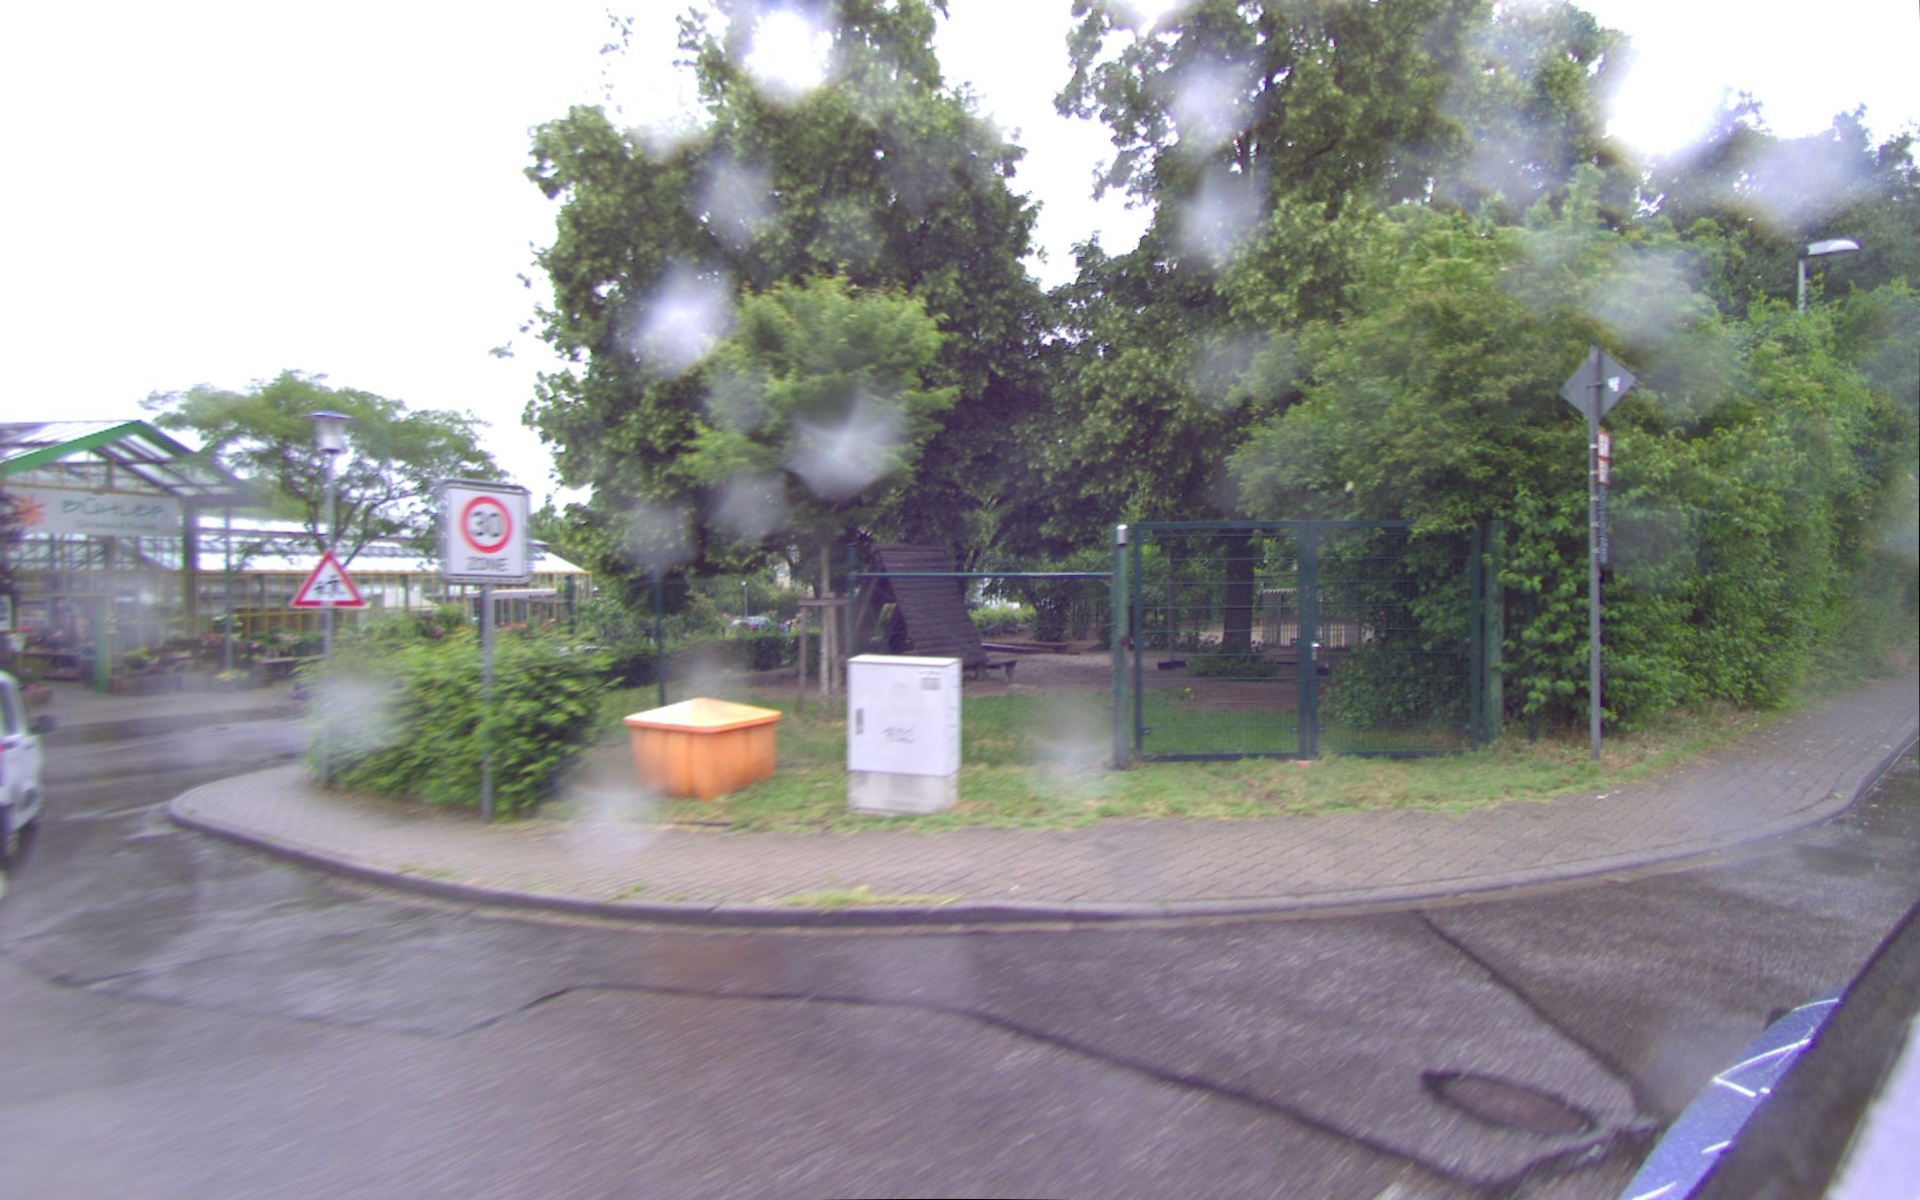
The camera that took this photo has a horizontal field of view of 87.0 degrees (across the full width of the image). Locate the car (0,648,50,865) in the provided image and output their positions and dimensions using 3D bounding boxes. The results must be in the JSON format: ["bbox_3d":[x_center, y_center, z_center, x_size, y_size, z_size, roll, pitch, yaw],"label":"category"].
[{"bbox_3d":[-10.052,1.515,9.615,1.869,1.830,3.993,-2,-4,-39],"label":"car"}]

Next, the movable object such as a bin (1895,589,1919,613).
[{"bbox_3d":[61.574,0.050,65.652,0.782,1.453,1.237,0,5,-43],"label":"movable object such as a bin"}]
